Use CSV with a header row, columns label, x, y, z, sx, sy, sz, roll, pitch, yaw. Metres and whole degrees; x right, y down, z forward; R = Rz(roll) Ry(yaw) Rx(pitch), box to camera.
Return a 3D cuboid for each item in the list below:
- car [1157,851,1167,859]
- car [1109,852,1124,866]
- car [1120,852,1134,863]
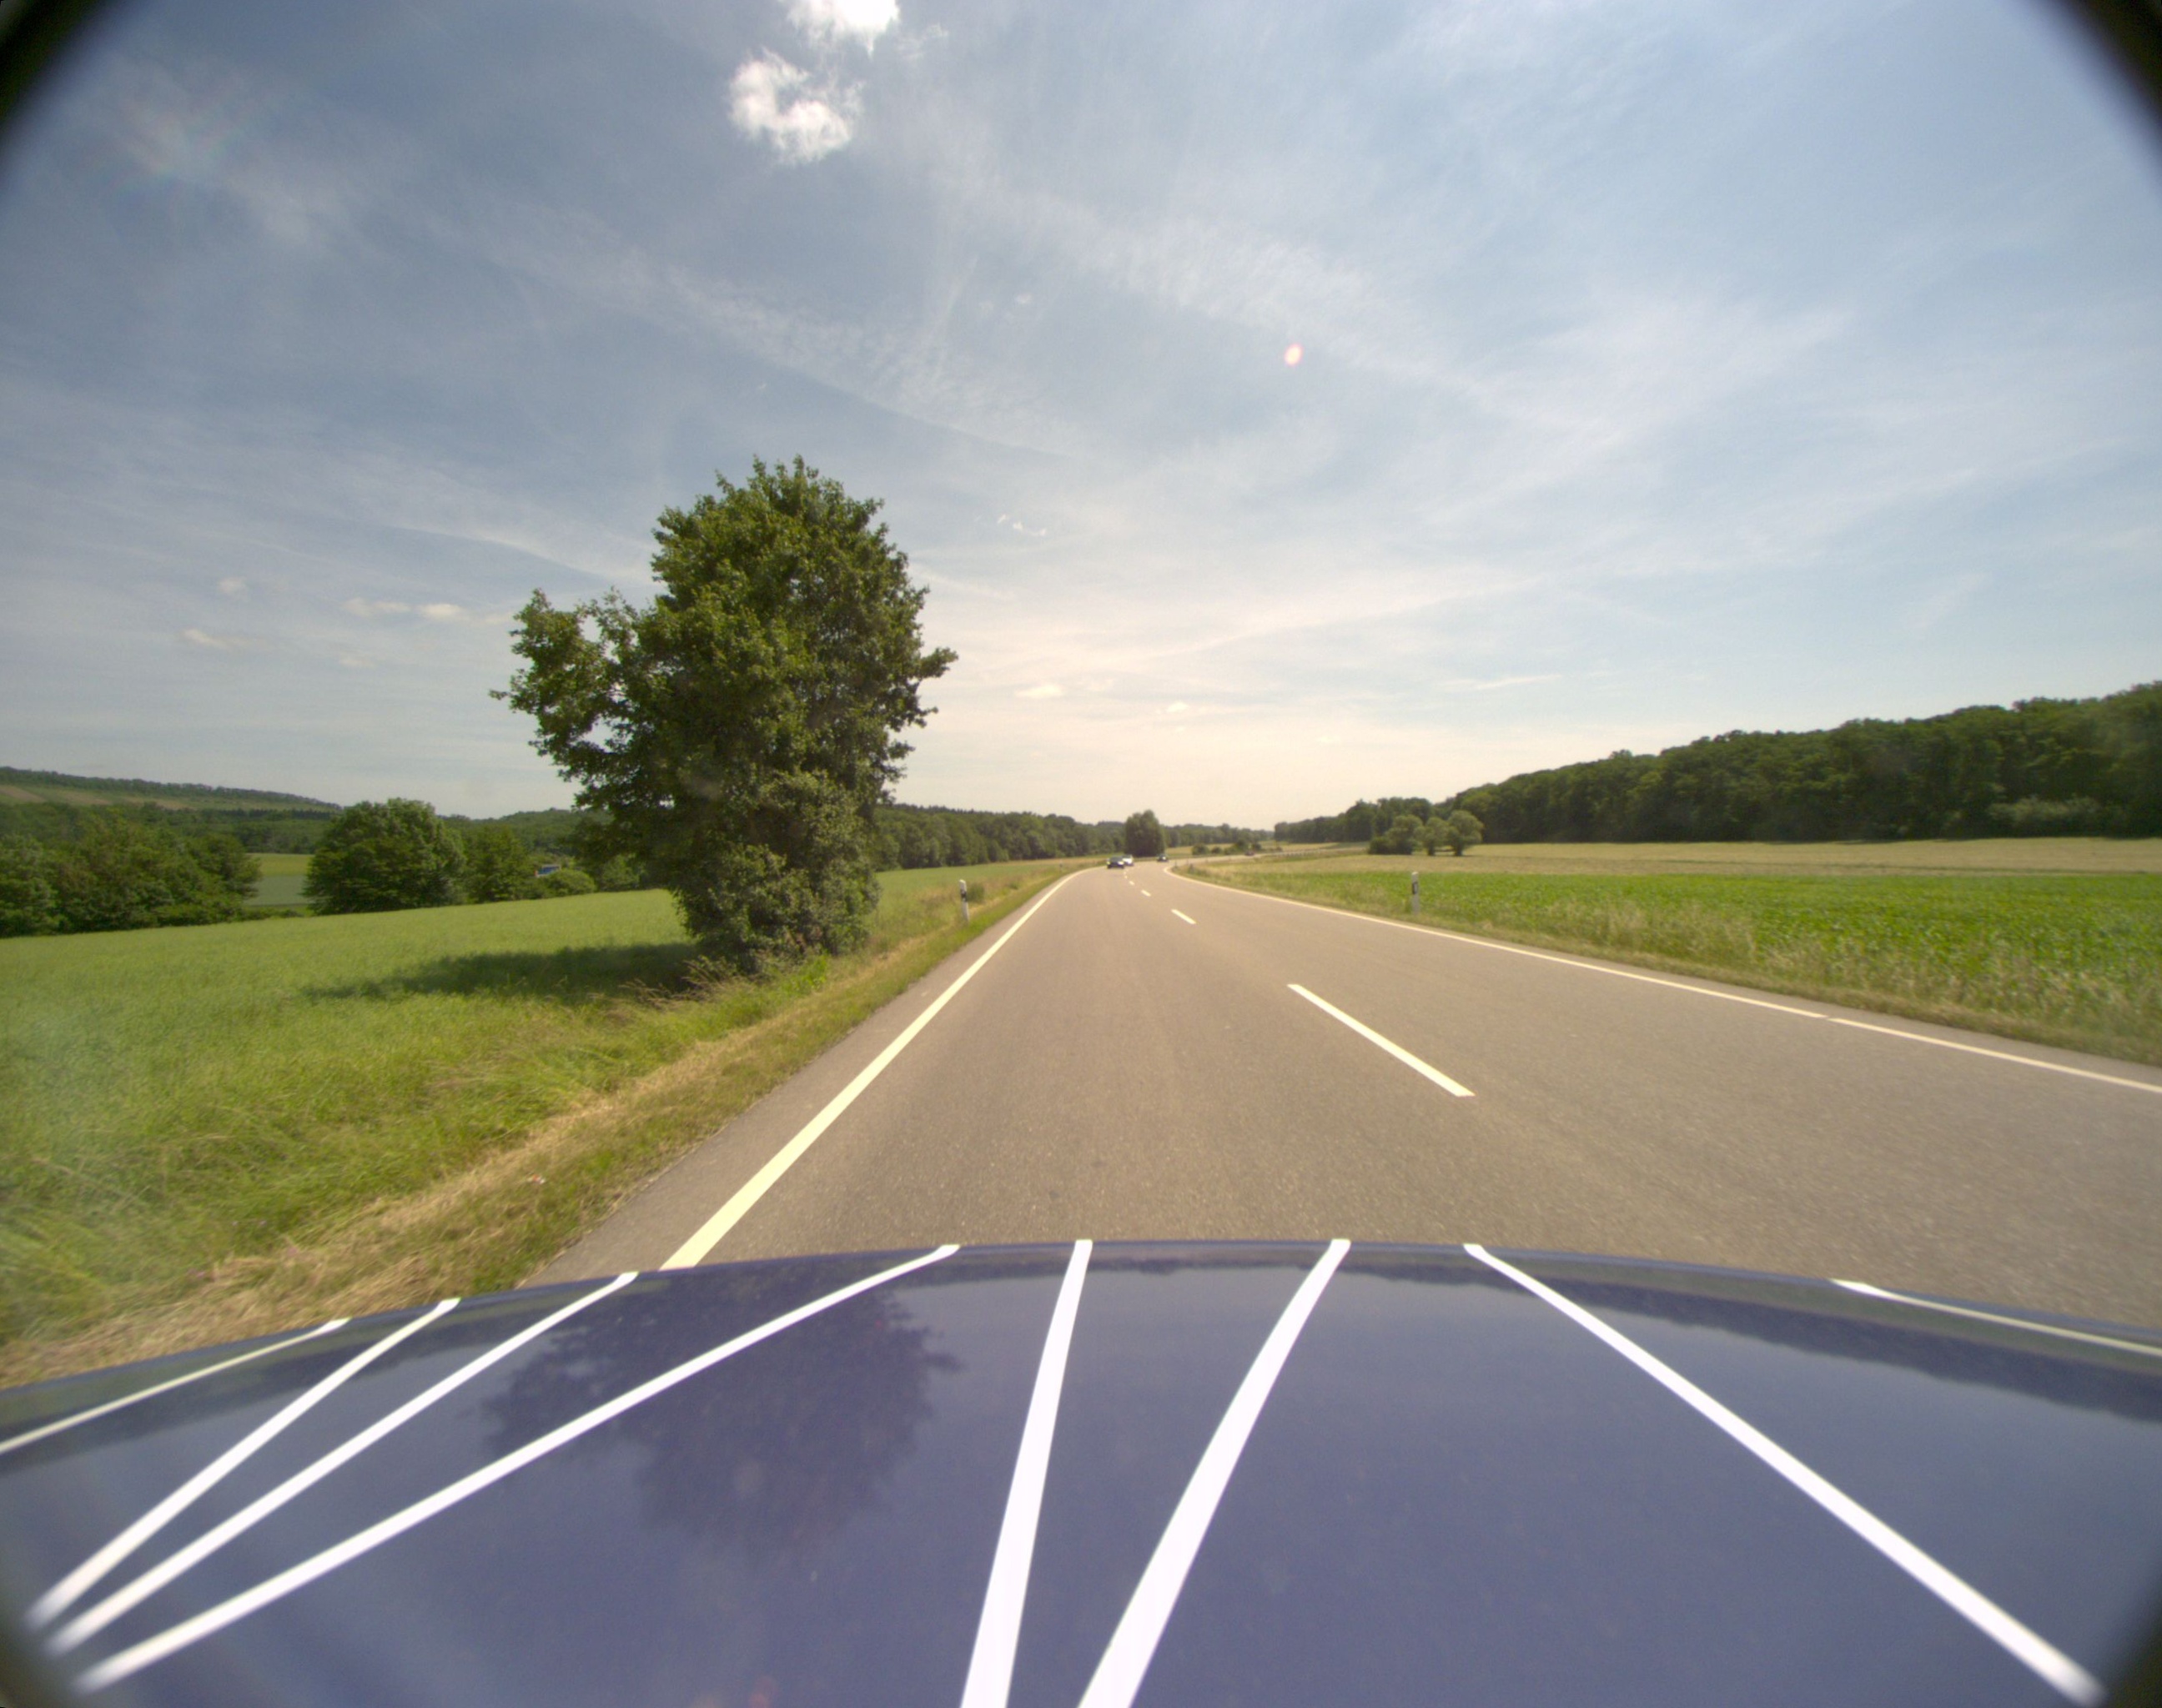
label,x,y,z,sx,sy,sz,roll,pitch,yaw
car,15.218,0.129,143.153,1.620,1.429,3.444,0,2,9
car,3.984,0.550,84.972,1.621,1.428,3.443,0,1,2
car,6.248,0.504,103.273,1.620,1.428,3.445,0,0,7
